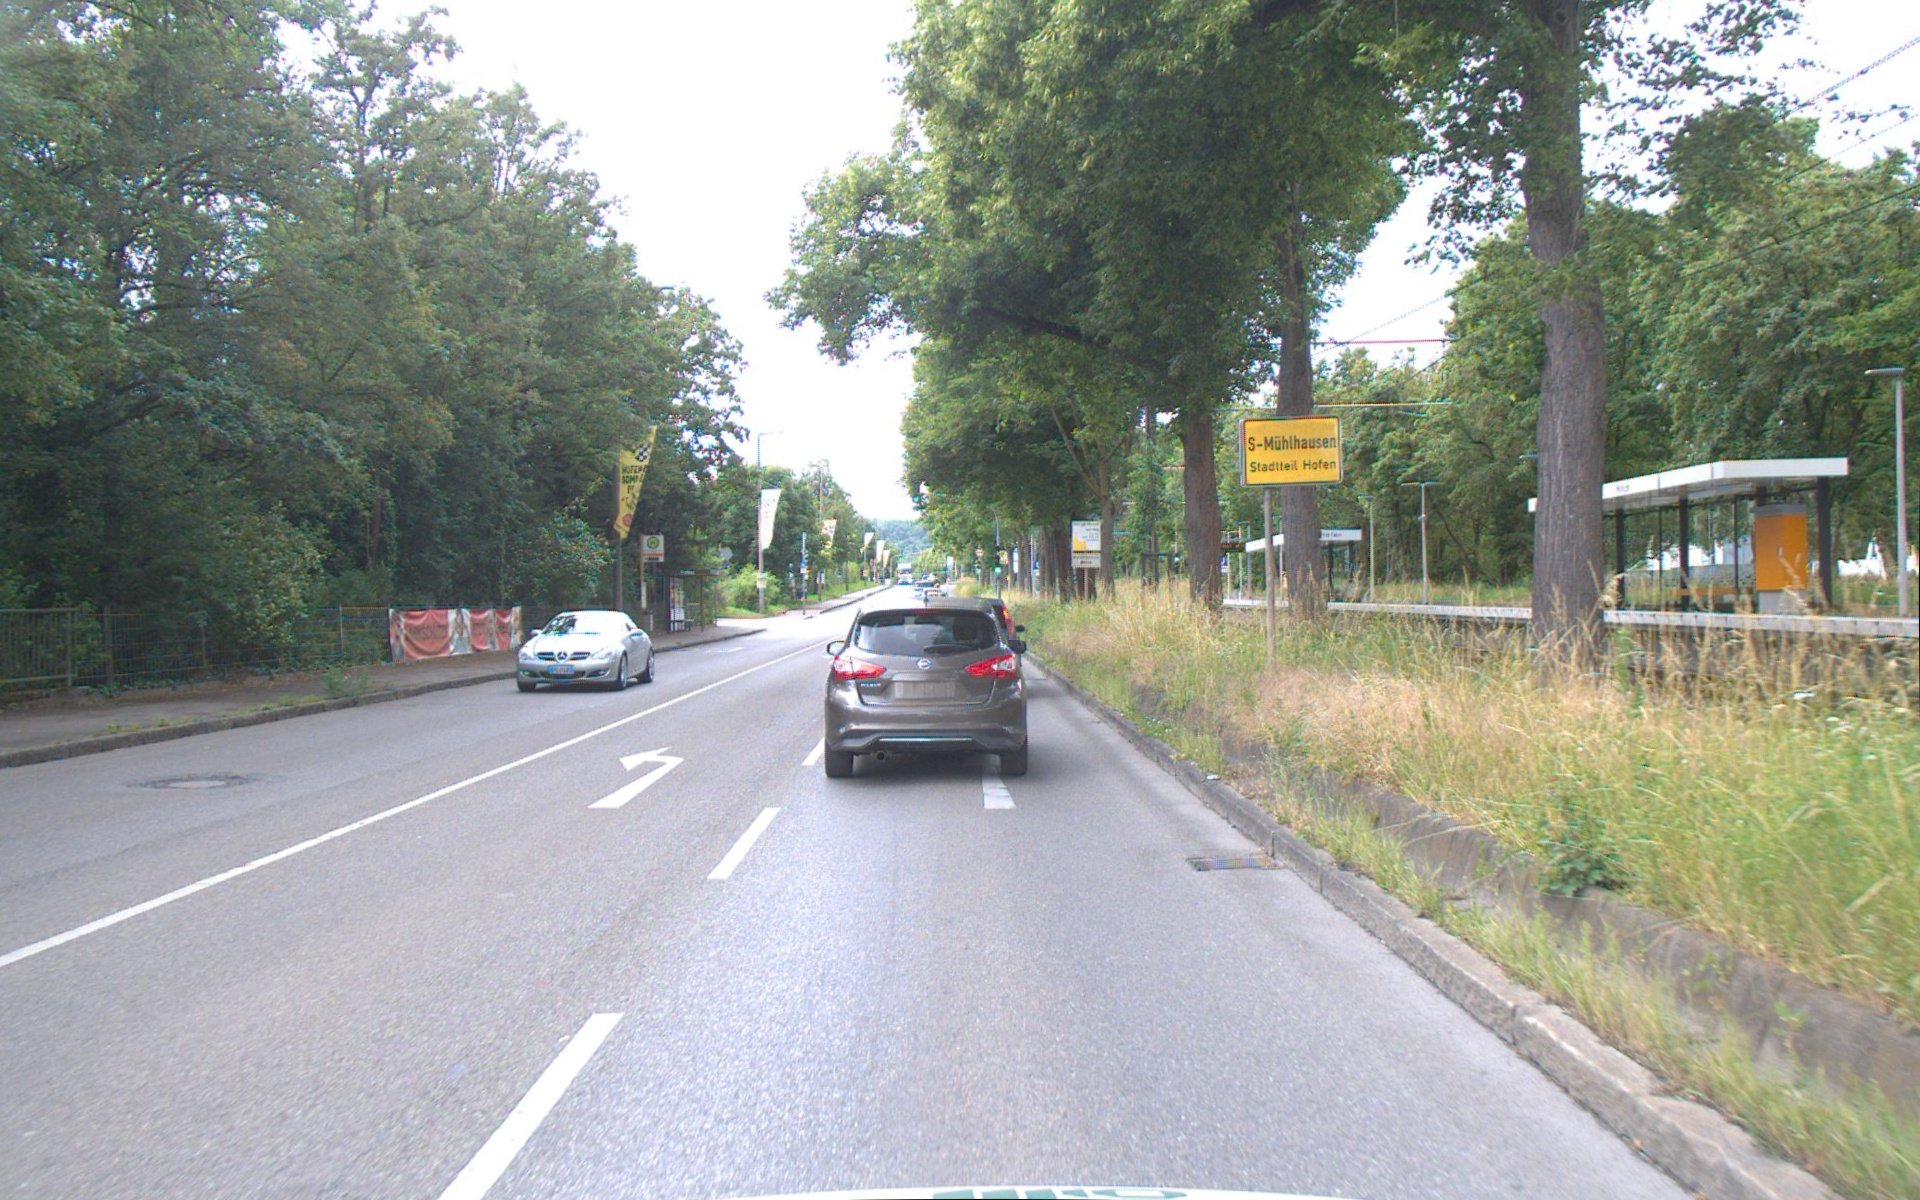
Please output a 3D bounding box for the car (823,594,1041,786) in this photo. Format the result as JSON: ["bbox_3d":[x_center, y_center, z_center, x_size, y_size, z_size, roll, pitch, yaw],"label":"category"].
[{"bbox_3d":[-0.239,0.722,15.223,1.747,1.533,3.695,-1,0,0],"label":"car"}]

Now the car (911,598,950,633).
[{"bbox_3d":[-1.284,0.643,72.559,1.657,1.466,3.541,0,0,-1],"label":"car"}]

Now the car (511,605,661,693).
[{"bbox_3d":[-6.261,0.782,28.049,1.722,1.360,3.695,-1,0,0],"label":"car"}]

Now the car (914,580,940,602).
[{"bbox_3d":[-2.559,-0.706,128.186,1.953,1.601,3.999,1,0,-1],"label":"car"}]

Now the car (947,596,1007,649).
[{"bbox_3d":[0.465,0.619,47.958,1.657,1.466,3.541,0,0,-1],"label":"car"}]

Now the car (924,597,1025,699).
[{"bbox_3d":[0.185,0.701,25.916,1.471,1.466,3.541,0,0,-1],"label":"car"}]
